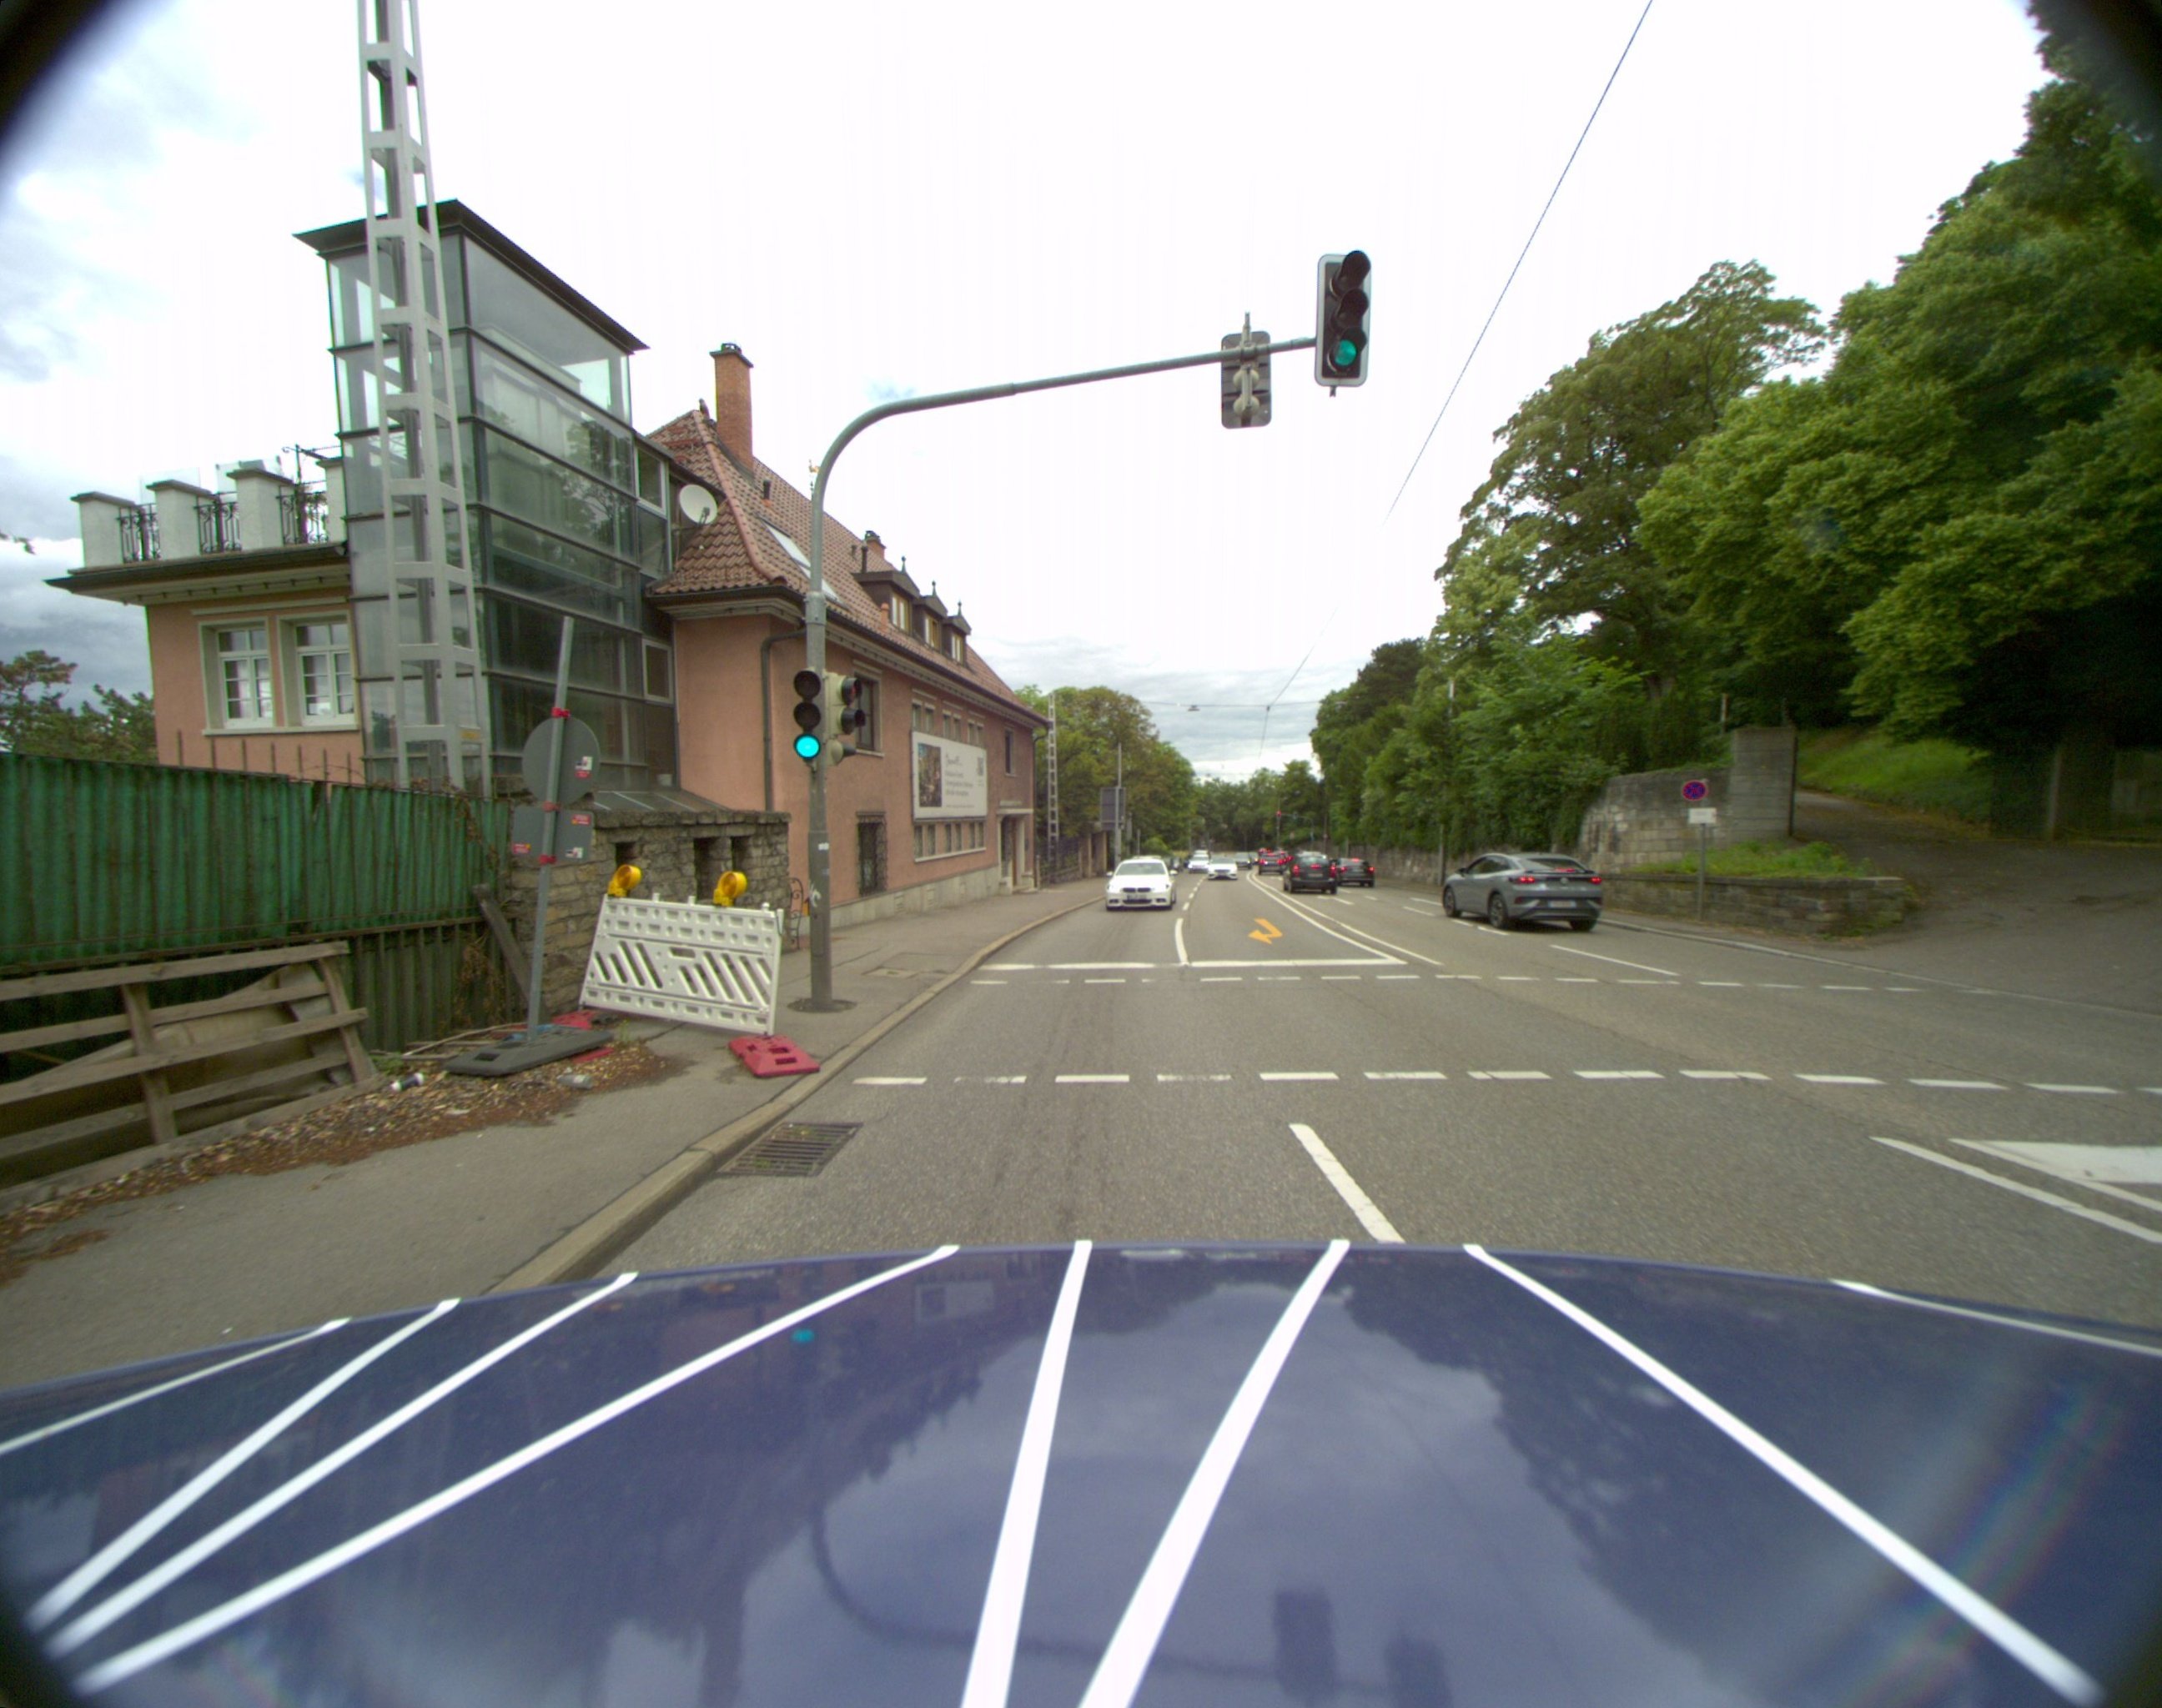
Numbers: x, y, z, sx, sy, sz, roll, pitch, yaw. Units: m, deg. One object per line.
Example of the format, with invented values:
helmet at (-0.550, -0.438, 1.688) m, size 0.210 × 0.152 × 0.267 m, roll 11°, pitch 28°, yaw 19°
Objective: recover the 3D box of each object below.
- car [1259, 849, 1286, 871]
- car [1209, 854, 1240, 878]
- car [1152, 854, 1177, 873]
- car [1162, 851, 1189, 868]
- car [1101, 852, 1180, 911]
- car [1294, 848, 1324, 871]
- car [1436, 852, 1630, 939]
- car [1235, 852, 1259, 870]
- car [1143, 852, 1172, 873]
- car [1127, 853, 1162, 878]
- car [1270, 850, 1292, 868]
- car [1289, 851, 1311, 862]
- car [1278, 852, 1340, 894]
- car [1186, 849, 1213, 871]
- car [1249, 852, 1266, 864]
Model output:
car at (14.694, 0.482, 58.478) m, size 1.852 × 1.622 × 4.365 m, roll 0°, pitch 0°, yaw 12°
car at (8.908, 0.736, 47.412) m, size 1.801 × 1.382 × 3.530 m, roll 1°, pitch 0°, yaw 9°
car at (6.972, 0.778, 63.160) m, size 1.563 × 1.414 × 3.427 m, roll 3°, pitch 2°, yaw 13°
car at (8.543, 0.486, 68.426) m, size 1.772 × 1.391 × 4.556 m, roll 2°, pitch 1°, yaw 15°
car at (1.883, 0.719, 22.484) m, size 1.821 × 1.463 × 4.787 m, roll -1°, pitch 1°, yaw 11°
car at (19.081, 0.425, 63.734) m, size 1.896 × 1.837 × 4.400 m, roll 1°, pitch 1°, yaw 10°
car at (9.692, 0.794, 16.804) m, size 1.997 × 1.598 × 4.479 m, roll 2°, pitch 0°, yaw 7°
car at (16.072, 0.688, 73.775) m, size 1.957 × 1.730 × 4.002 m, roll 0°, pitch 0°, yaw 7°
car at (5.667, 0.609, 55.787) m, size 1.718 × 1.463 × 4.042 m, roll 1°, pitch 0°, yaw 11°
car at (4.204, 0.721, 49.949) m, size 1.678 × 1.453 × 4.369 m, roll 2°, pitch 1°, yaw 12°
car at (20.602, 0.505, 78.248) m, size 1.962 × 1.740 × 4.883 m, roll 1°, pitch 1°, yaw 16°
car at (29.749, 0.271, 103.474) m, size 1.847 × 1.401 × 4.456 m, roll 1°, pitch 1°, yaw 2°
car at (9.080, 0.707, 30.479) m, size 1.758 × 1.557 × 3.681 m, roll 1°, pitch 0°, yaw 7°
car at (10.154, 0.494, 65.323) m, size 1.957 × 1.761 × 4.001 m, roll 0°, pitch 0°, yaw 4°
car at (20.780, 0.482, 89.692) m, size 1.833 × 1.369 × 4.003 m, roll 0°, pitch 0°, yaw 12°
